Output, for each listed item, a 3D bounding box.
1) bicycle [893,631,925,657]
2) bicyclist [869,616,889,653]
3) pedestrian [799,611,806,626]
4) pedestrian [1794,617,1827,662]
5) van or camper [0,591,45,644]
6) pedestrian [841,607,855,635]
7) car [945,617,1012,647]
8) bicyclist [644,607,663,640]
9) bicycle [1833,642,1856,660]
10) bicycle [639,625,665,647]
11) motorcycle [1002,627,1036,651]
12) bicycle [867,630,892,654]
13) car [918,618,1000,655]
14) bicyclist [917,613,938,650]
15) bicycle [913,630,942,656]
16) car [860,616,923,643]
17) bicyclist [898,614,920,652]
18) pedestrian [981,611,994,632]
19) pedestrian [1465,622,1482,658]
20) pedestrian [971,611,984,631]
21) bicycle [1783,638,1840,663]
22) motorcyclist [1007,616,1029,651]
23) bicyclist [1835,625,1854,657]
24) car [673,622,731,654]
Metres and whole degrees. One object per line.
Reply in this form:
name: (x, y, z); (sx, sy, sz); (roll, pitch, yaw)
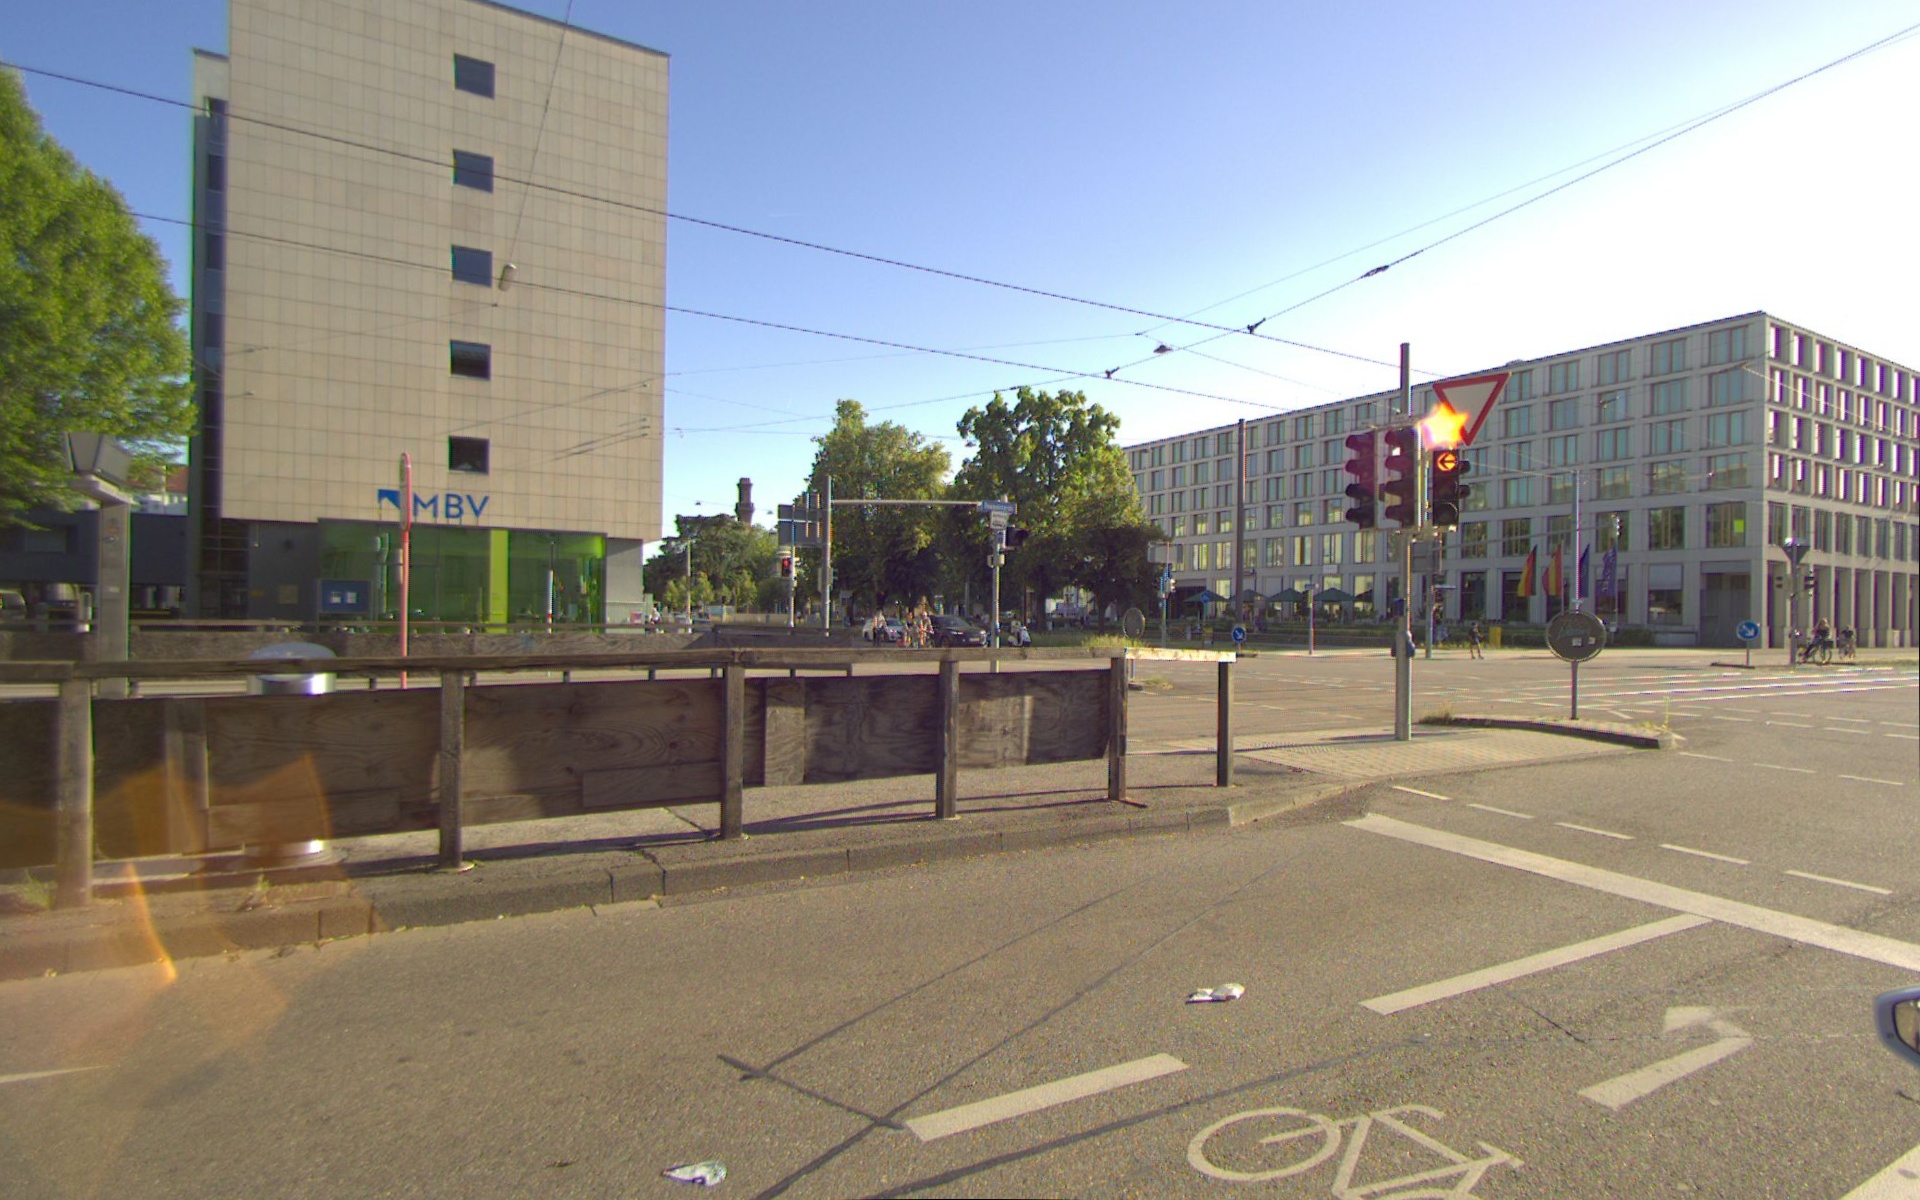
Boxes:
bicycle: (-2.141, 1.837, 41.935); (0.577, 1.032, 1.806); (1, -3, -31)
bicyclist: (-3.705, 1.586, 45.913); (0.576, 1.658, 0.890); (1, -1, -27)
pedestrian: (-19.439, 2.239, 123.694); (0.758, 1.829, 0.624); (2, 0, -5)
pedestrian: (30.806, 1.419, 36.379); (0.562, 1.616, 0.744); (1, -1, -2)
van or camper: (-27.996, 0.391, 27.493); (3.954, 1.425, 1.954); (4, -3, -30)
pedestrian: (-8.243, 1.545, 74.056); (0.772, 2.040, 0.747); (1, -1, -31)
car: (0.920, 1.653, 52.121); (1.674, 1.506, 3.719); (1, -1, -33)
bicyclist: (-15.187, 1.186, 49.772); (0.802, 1.623, 0.677); (1, -1, -29)
bicycle: (43.054, 2.461, 48.900); (1.142, 0.850, 0.492); (1, -1, -28)
bicycle: (-15.266, 1.778, 49.788); (0.802, 1.047, 2.111); (1, -1, -28)
motorcycle: (2.746, 1.821, 46.869); (0.624, 1.030, 1.972); (-3, 1, -28)
bicycle: (-3.686, 1.903, 45.875); (0.576, 1.032, 1.666); (1, -1, -27)
car: (-0.078, 1.585, 44.336); (1.925, 1.561, 3.969); (2, -2, -29)
bicyclist: (-1.375, 1.318, 42.333); (0.576, 1.563, 0.890); (1, -1, -27)
bicycle: (-1.370, 1.792, 42.297); (0.576, 1.032, 1.666); (1, -1, -27)
car: (-4.105, 1.718, 59.704); (1.979, 1.537, 3.962); (1, -1, -34)
bicyclist: (-2.136, 1.359, 41.932); (0.577, 1.563, 0.833); (1, -2, -32)
pedestrian: (2.341, 1.827, 86.270); (0.858, 1.738, 0.737); (2, 0, -26)
pedestrian: (24.788, 1.938, 48.455); (0.594, 1.703, 0.606); (0, -1, 14)
pedestrian: (1.519, 1.808, 87.483); (0.858, 1.738, 0.737); (2, 0, -26)
bicycle: (30.802, 1.814, 36.353); (0.562, 0.834, 1.718); (1, -1, -2)
motorcyclist: (2.705, 1.569, 46.899); (0.624, 1.601, 0.812); (-3, 1, -28)
bicyclist: (43.079, 2.004, 48.913); (0.658, 1.518, 0.492); (1, -1, -28)
car: (-13.444, 1.941, 52.099); (1.975, 1.472, 4.179); (2, 0, -28)
